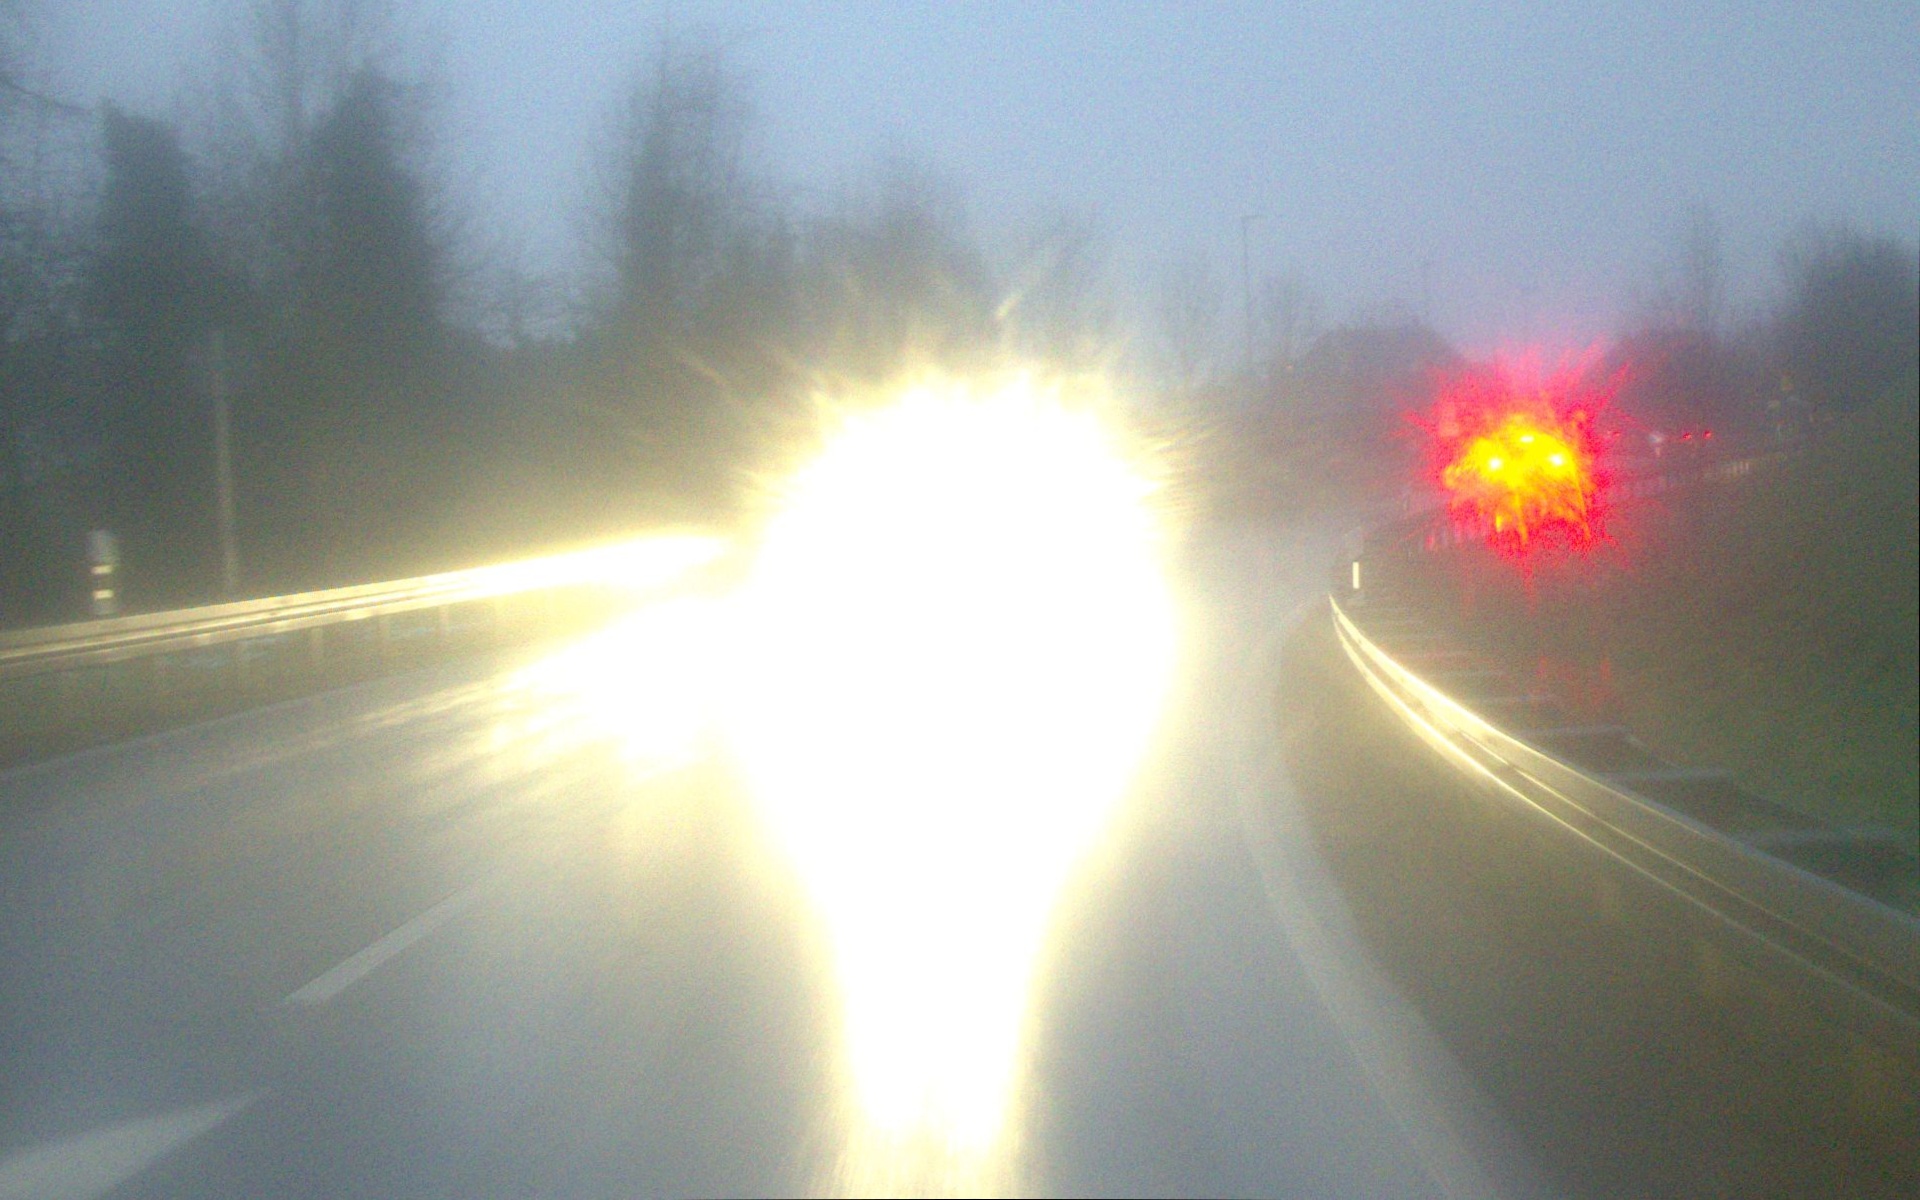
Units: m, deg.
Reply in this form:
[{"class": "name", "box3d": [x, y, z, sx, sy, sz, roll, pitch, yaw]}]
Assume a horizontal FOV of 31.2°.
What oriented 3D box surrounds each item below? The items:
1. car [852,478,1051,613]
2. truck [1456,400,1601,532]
[{"class": "car", "box3d": [-0.053, -0.800, 47.964, 1.994, 1.615, 4.597, -4, 2, 9]}, {"class": "truck", "box3d": [13.602, -3.233, 81.938, 2.534, 2.859, 5.918, -4, 2, 16]}]
